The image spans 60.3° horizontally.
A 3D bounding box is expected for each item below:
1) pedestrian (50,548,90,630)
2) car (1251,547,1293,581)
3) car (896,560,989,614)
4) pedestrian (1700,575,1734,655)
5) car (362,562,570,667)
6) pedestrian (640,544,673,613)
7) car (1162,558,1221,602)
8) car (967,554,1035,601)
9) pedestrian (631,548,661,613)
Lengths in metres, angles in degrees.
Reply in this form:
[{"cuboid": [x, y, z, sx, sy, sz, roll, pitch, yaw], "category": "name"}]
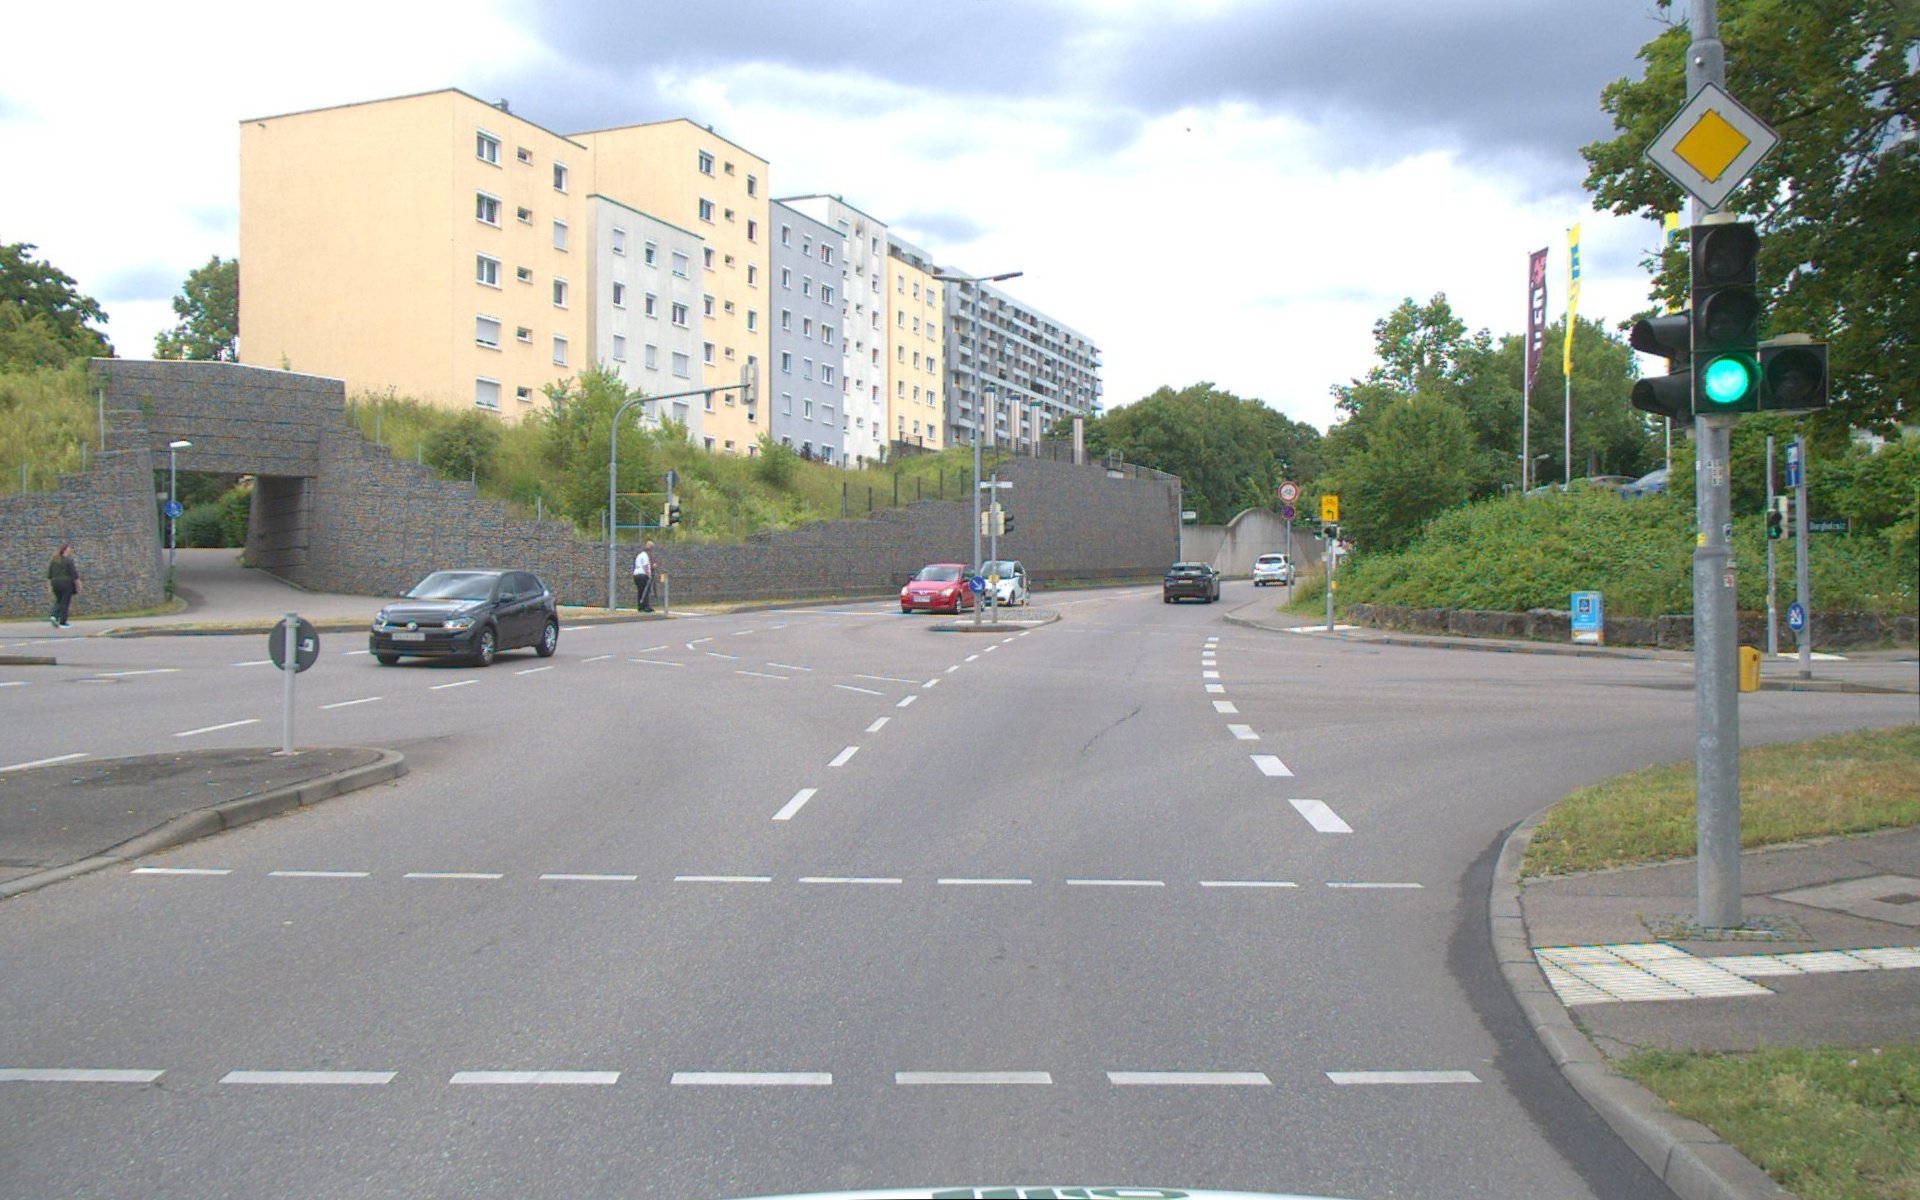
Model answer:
[{"cuboid": [-17.513, -0.222, 32.545, 0.617, 1.585, 0.573, 1, 0, -35], "category": "pedestrian"}, {"cuboid": [15.148, -1.742, 80.188, 1.717, 1.550, 4.040, 1, 1, 14], "category": "car"}, {"cuboid": [-0.485, -0.400, 50.525, 1.717, 1.550, 4.095, 1, 1, 16], "category": "car"}, {"cuboid": [15.771, 0.312, 34.455, 0.609, 1.636, 0.580, 1, 0, 24], "category": "pedestrian"}, {"cuboid": [-7.718, 0.162, 26.248, 1.717, 1.480, 4.071, 1, 2, 6], "category": "car"}, {"cuboid": [-8.268, -0.574, 45.073, 0.609, 1.859, 0.666, 1, 0, 16], "category": "pedestrian"}, {"cuboid": [8.536, -0.725, 60.771, 1.717, 1.550, 4.040, 1, 1, 14], "category": "car"}, {"cuboid": [1.438, -0.753, 56.883, 1.511, 1.550, 2.915, 1, 1, 18], "category": "car"}, {"cuboid": [-8.412, -0.516, 44.328, 0.609, 1.708, 0.666, 1, 0, 6], "category": "pedestrian"}]
